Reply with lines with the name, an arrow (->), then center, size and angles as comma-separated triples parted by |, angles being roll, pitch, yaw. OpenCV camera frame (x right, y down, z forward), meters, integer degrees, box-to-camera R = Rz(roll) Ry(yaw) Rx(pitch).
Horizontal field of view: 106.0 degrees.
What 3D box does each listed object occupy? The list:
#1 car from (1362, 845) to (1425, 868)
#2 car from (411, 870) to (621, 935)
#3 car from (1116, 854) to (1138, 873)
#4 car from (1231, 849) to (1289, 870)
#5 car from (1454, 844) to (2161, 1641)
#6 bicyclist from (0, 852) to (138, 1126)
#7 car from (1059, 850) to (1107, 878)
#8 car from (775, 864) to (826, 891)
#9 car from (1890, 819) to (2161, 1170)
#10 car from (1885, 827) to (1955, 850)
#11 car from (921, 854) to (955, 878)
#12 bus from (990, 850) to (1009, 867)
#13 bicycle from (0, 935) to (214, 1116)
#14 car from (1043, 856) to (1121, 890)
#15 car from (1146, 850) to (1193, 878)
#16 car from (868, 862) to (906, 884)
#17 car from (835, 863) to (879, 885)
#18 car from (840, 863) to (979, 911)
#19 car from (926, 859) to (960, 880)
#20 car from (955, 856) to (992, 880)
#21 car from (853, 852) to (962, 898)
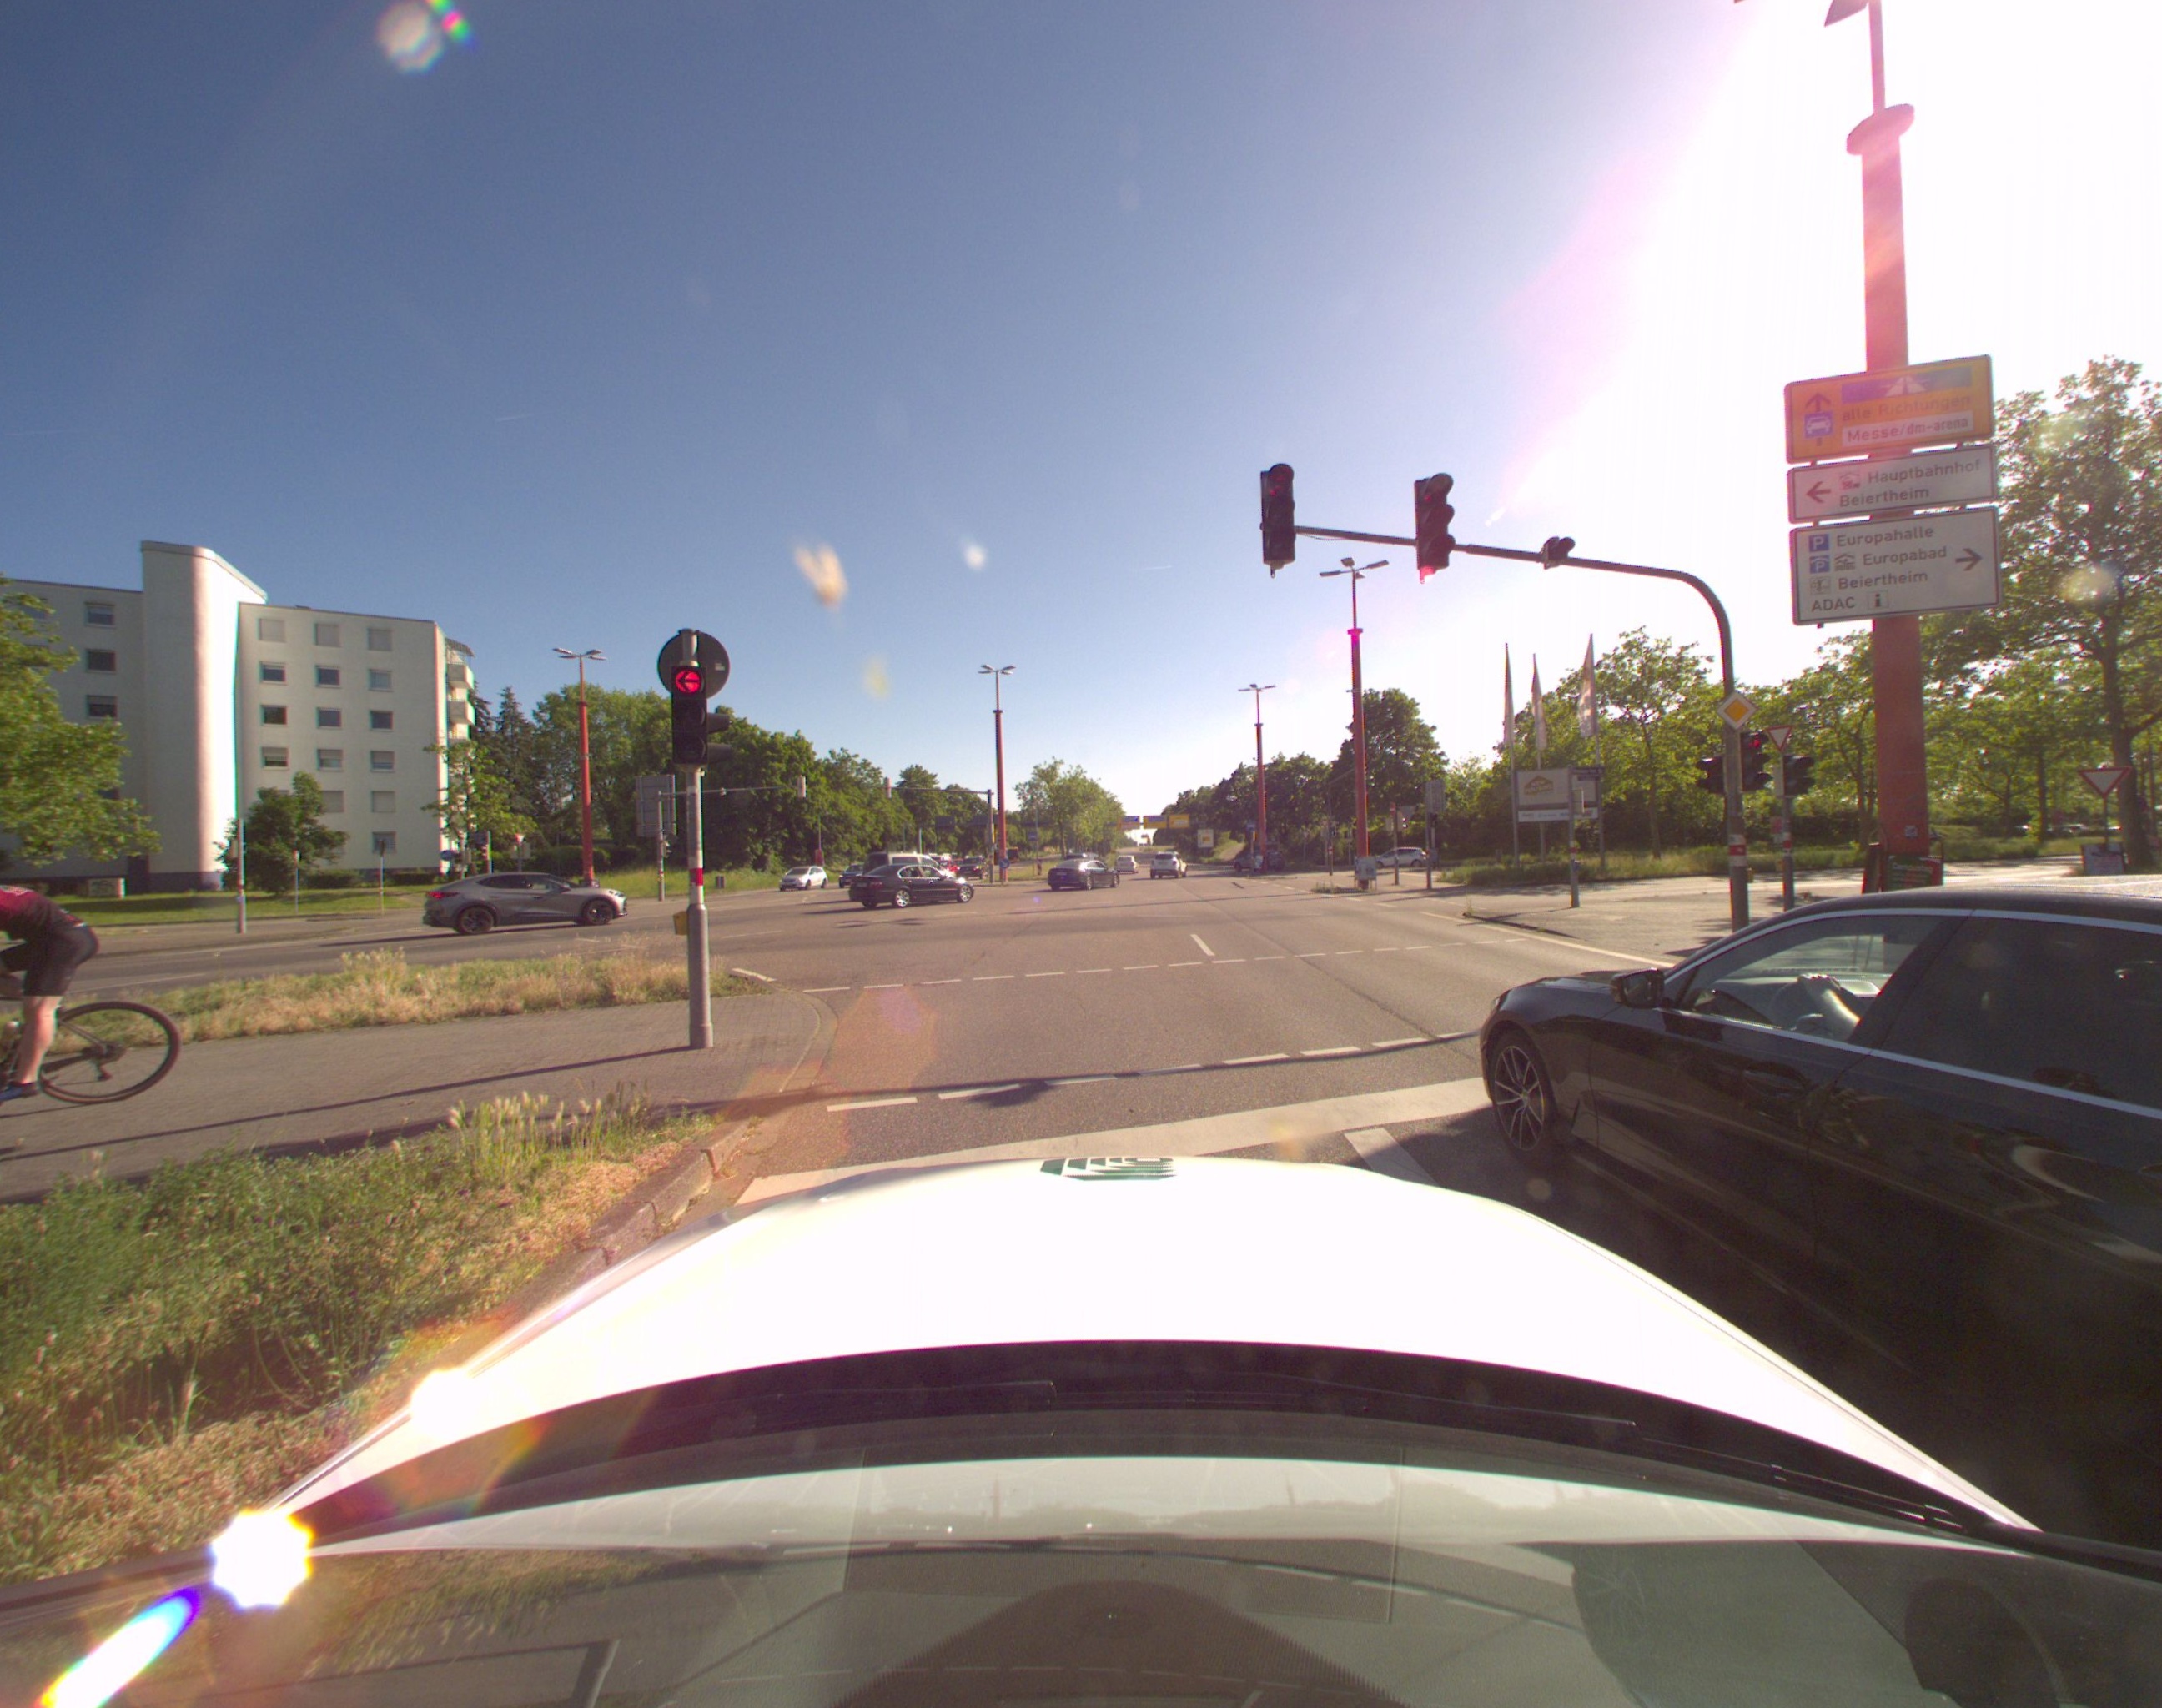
car -> 21.644, 0.186, 56.517 | 3.948, 1.467, 1.692 | -2, 0, 20
car -> -15.260, 1.236, 22.161 | 4.462, 1.422, 1.814 | -2, 0, -43
car -> 3.618, 0.749, 63.468 | 1.475, 1.346, 4.007 | -1, -1, 7
car -> 13.980, 0.434, 63.871 | 1.793, 1.485, 4.282 | -2, 0, -36
car -> 2.924, 0.691, 2.374 | 1.861, 1.398, 4.448 | -2, 0, 4
bicyclist -> -7.278, 0.880, 5.459 | 0.998, 1.741, 0.731 | -2, 0, -22
car -> 0.183, 0.571, 49.076 | 1.839, 1.545, 4.278 | -2, 0, 14
car -> -17.579, 1.457, 51.192 | 1.754, 1.532, 3.936 | -2, 0, 1
car -> 5.671, 0.605, 2.862 | 1.732, 1.578, 4.032 | -2, 0, 3
car -> 62.459, -1.158, 60.645 | 3.991, 1.578, 1.861 | -2, 0, -13
car -> -12.458, 1.023, 71.214 | 1.886, 2.026, 5.223 | 0, -1, 1
bus -> -16.371, 0.938, 164.596 | 2.482, 3.238, 10.005 | -2, 0, 2
bicycle -> -7.249, 1.155, 5.450 | 1.831, 1.057, 0.718 | -2, 0, -20
car -> 0.137, 0.837, 36.823 | 1.743, 1.350, 4.389 | -2, 0, 26
car -> 5.566, 0.606, 50.878 | 1.807, 1.636, 4.275 | -2, 0, 21
car -> -13.672, 1.319, 57.528 | 1.733, 1.411, 3.613 | -2, 0, 1
car -> -14.089, 1.212, 51.419 | 1.733, 1.243, 3.613 | -2, 0, 1
car -> -5.510, 1.030, 26.661 | 1.742, 1.350, 4.391 | -2, 0, 35
car -> -9.907, 1.087, 58.666 | 1.733, 1.362, 3.613 | -2, 0, 1
car -> -7.393, 0.948, 56.395 | 1.812, 1.508, 4.002 | -2, 0, 2
car -> -6.991, 0.811, 33.217 | 1.828, 1.708, 4.334 | -2, 0, 31
